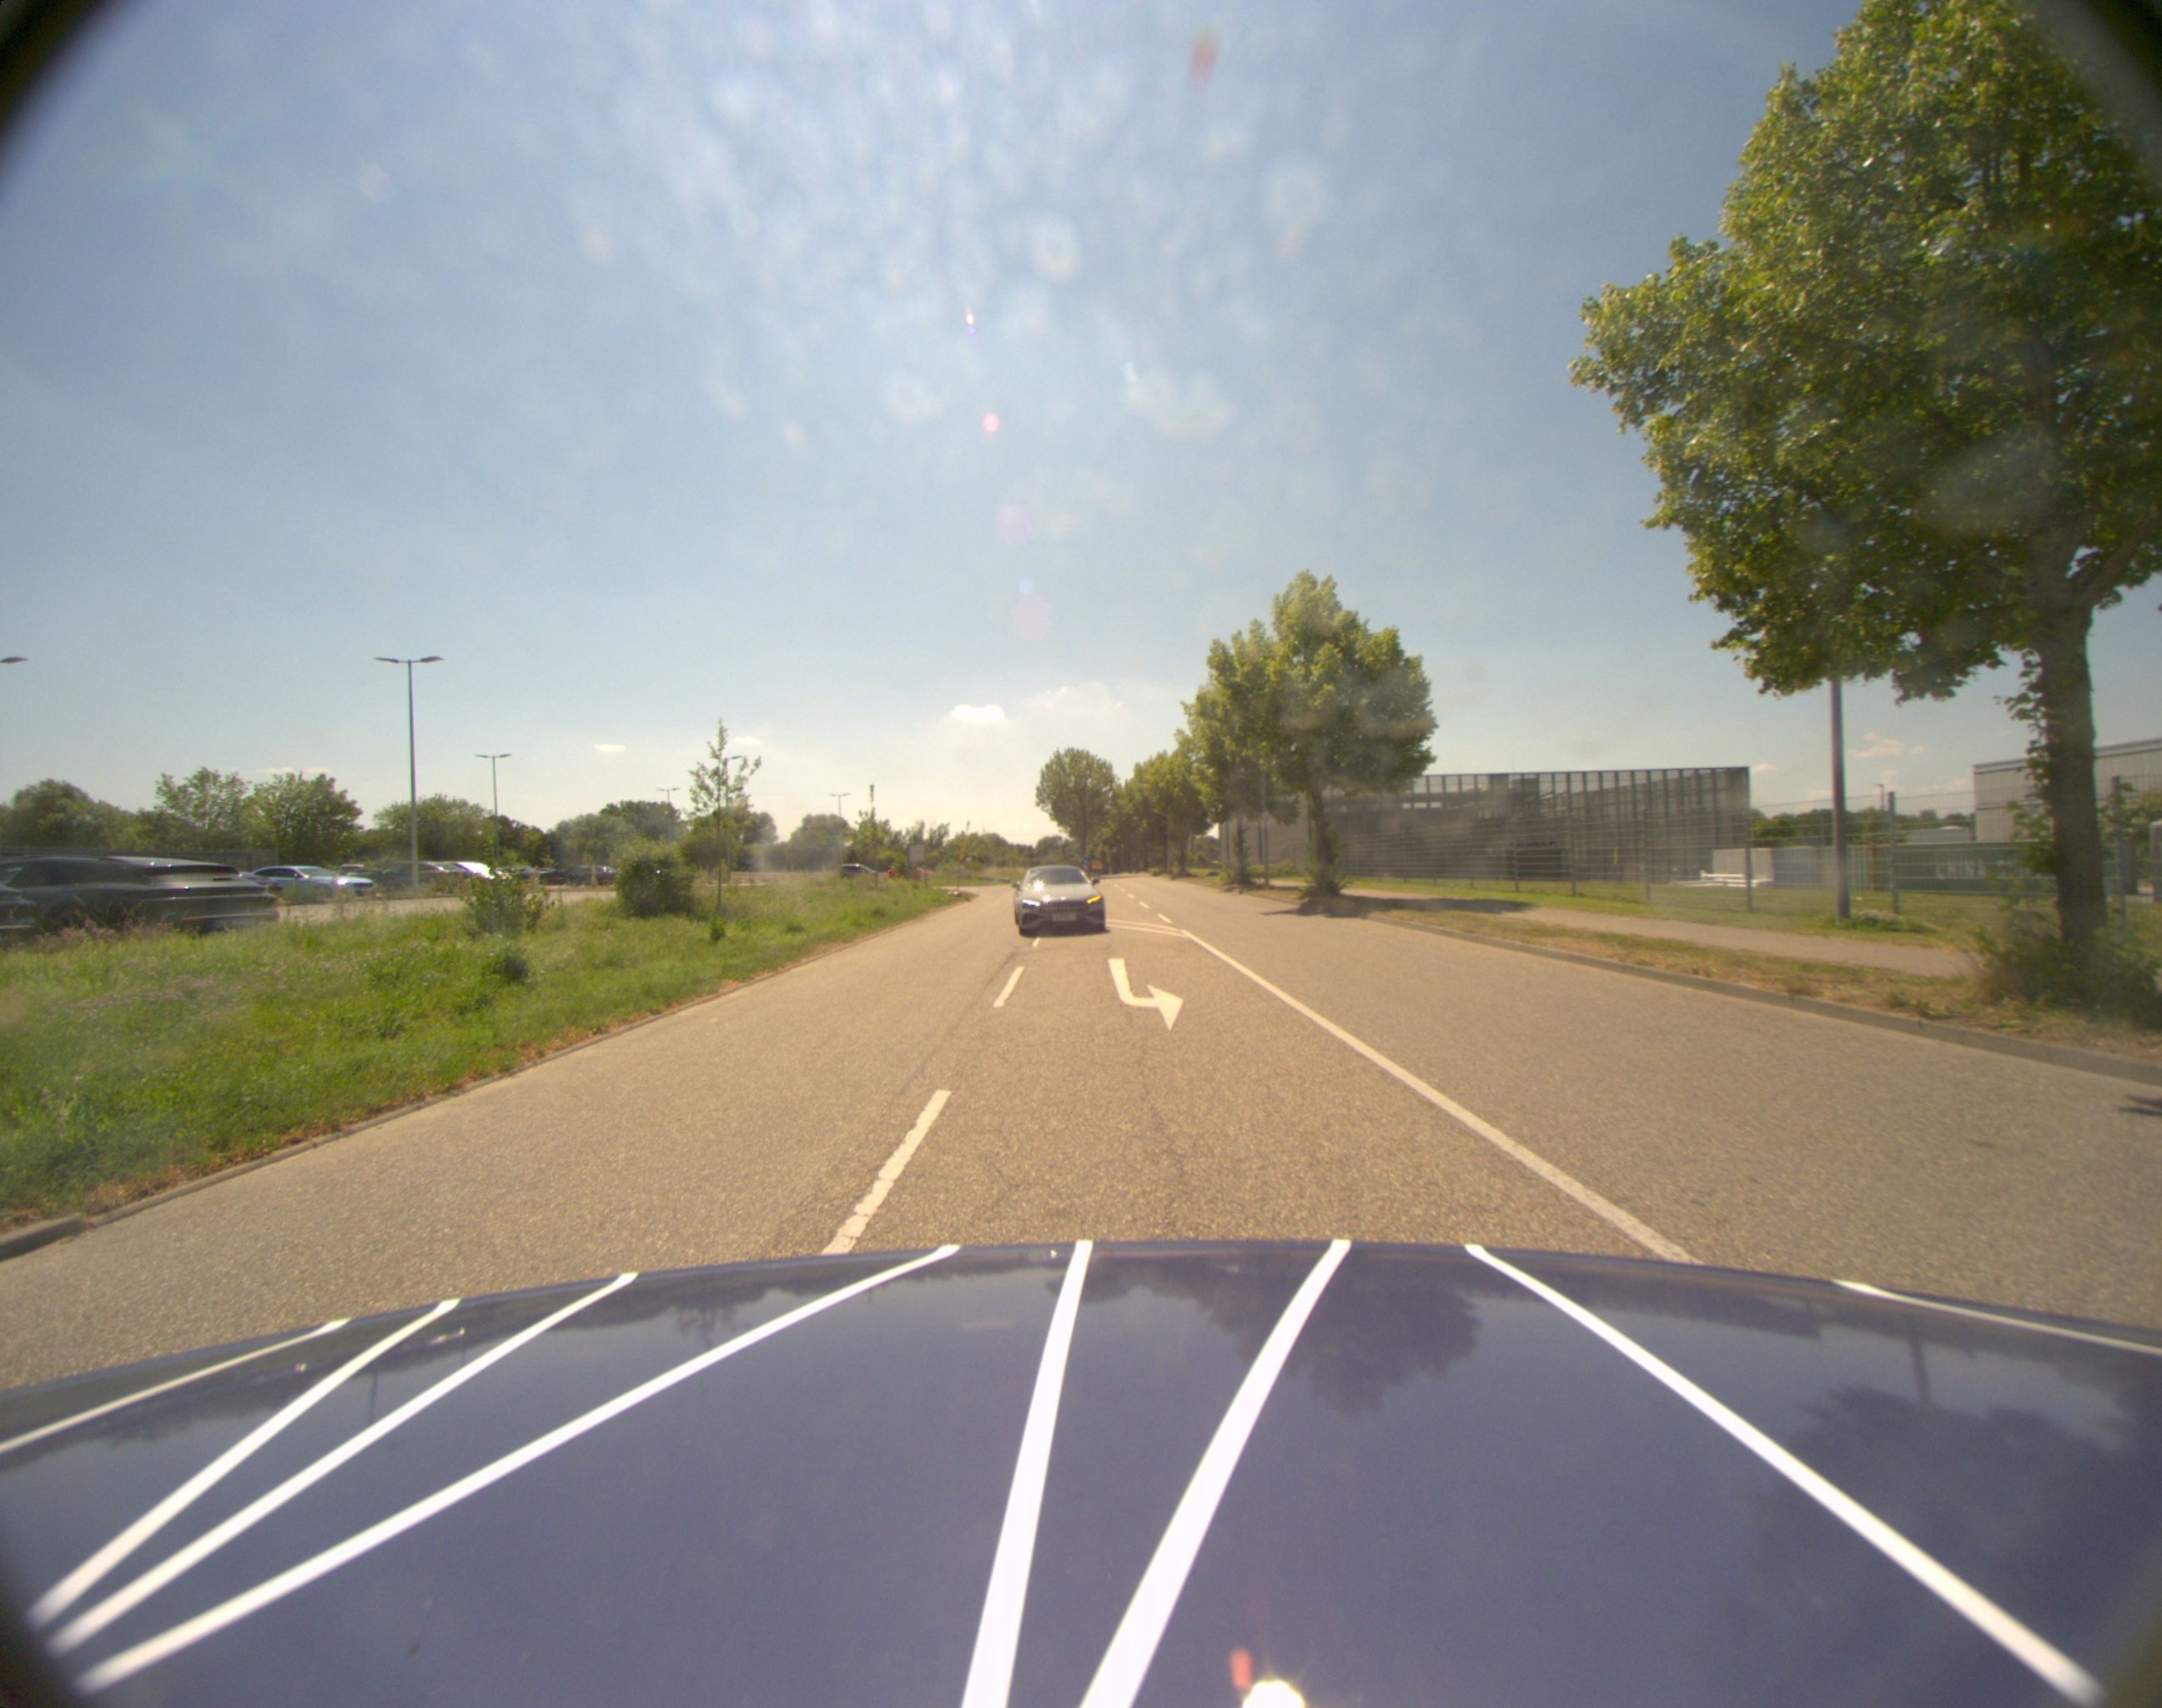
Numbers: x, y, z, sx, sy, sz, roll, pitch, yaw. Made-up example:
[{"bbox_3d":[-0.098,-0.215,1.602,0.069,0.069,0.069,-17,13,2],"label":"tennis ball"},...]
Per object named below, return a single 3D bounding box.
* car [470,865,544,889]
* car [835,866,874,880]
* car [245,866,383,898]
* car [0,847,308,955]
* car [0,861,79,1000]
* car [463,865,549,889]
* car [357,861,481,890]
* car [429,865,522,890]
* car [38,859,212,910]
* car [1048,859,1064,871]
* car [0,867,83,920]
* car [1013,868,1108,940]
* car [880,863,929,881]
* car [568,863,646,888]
[{"bbox_3d":[-41.968,1.663,55.594,3.998,1.459,1.646,-3,1,-5],"label":"car"},{"bbox_3d":[-26.344,2.199,88.388,3.998,1.343,1.646,-3,1,-5],"label":"car"},{"bbox_3d":[-30.650,1.102,30.434,3.847,1.229,1.610,0,0,-1],"label":"car"},{"bbox_3d":[-14.036,0.657,10.829,3.997,1.284,1.908,-3,1,0],"label":"car"},{"bbox_3d":[-14.147,0.873,8.091,4.400,1.536,1.815,-1,0,-2],"label":"car"},{"bbox_3d":[-30.630,1.229,40.515,3.460,1.216,1.465,0,0,-1],"label":"car"},{"bbox_3d":[-30.400,0.968,34.972,4.299,1.289,1.558,0,0,-1],"label":"car"},{"bbox_3d":[-30.220,1.184,37.976,3.460,1.216,1.465,0,0,-1],"label":"car"},{"bbox_3d":[-29.983,0.934,23.901,3.436,1.537,1.561,0,0,-1],"label":"car"},{"bbox_3d":[-3.123,1.341,95.779,1.673,1.366,4.497,-4,0,0],"label":"car"},{"bbox_3d":[-30.255,1.054,20.916,3.436,1.383,1.561,0,0,-1],"label":"car"},{"bbox_3d":[-0.513,1.061,17.916,1.897,1.375,4.633,-3,-1,-2],"label":"car"},{"bbox_3d":[-15.631,1.605,67.475,3.998,1.343,1.646,-3,1,-5],"label":"car"},{"bbox_3d":[-31.183,1.400,50.070,3.998,1.343,1.646,-3,1,-5],"label":"car"}]
